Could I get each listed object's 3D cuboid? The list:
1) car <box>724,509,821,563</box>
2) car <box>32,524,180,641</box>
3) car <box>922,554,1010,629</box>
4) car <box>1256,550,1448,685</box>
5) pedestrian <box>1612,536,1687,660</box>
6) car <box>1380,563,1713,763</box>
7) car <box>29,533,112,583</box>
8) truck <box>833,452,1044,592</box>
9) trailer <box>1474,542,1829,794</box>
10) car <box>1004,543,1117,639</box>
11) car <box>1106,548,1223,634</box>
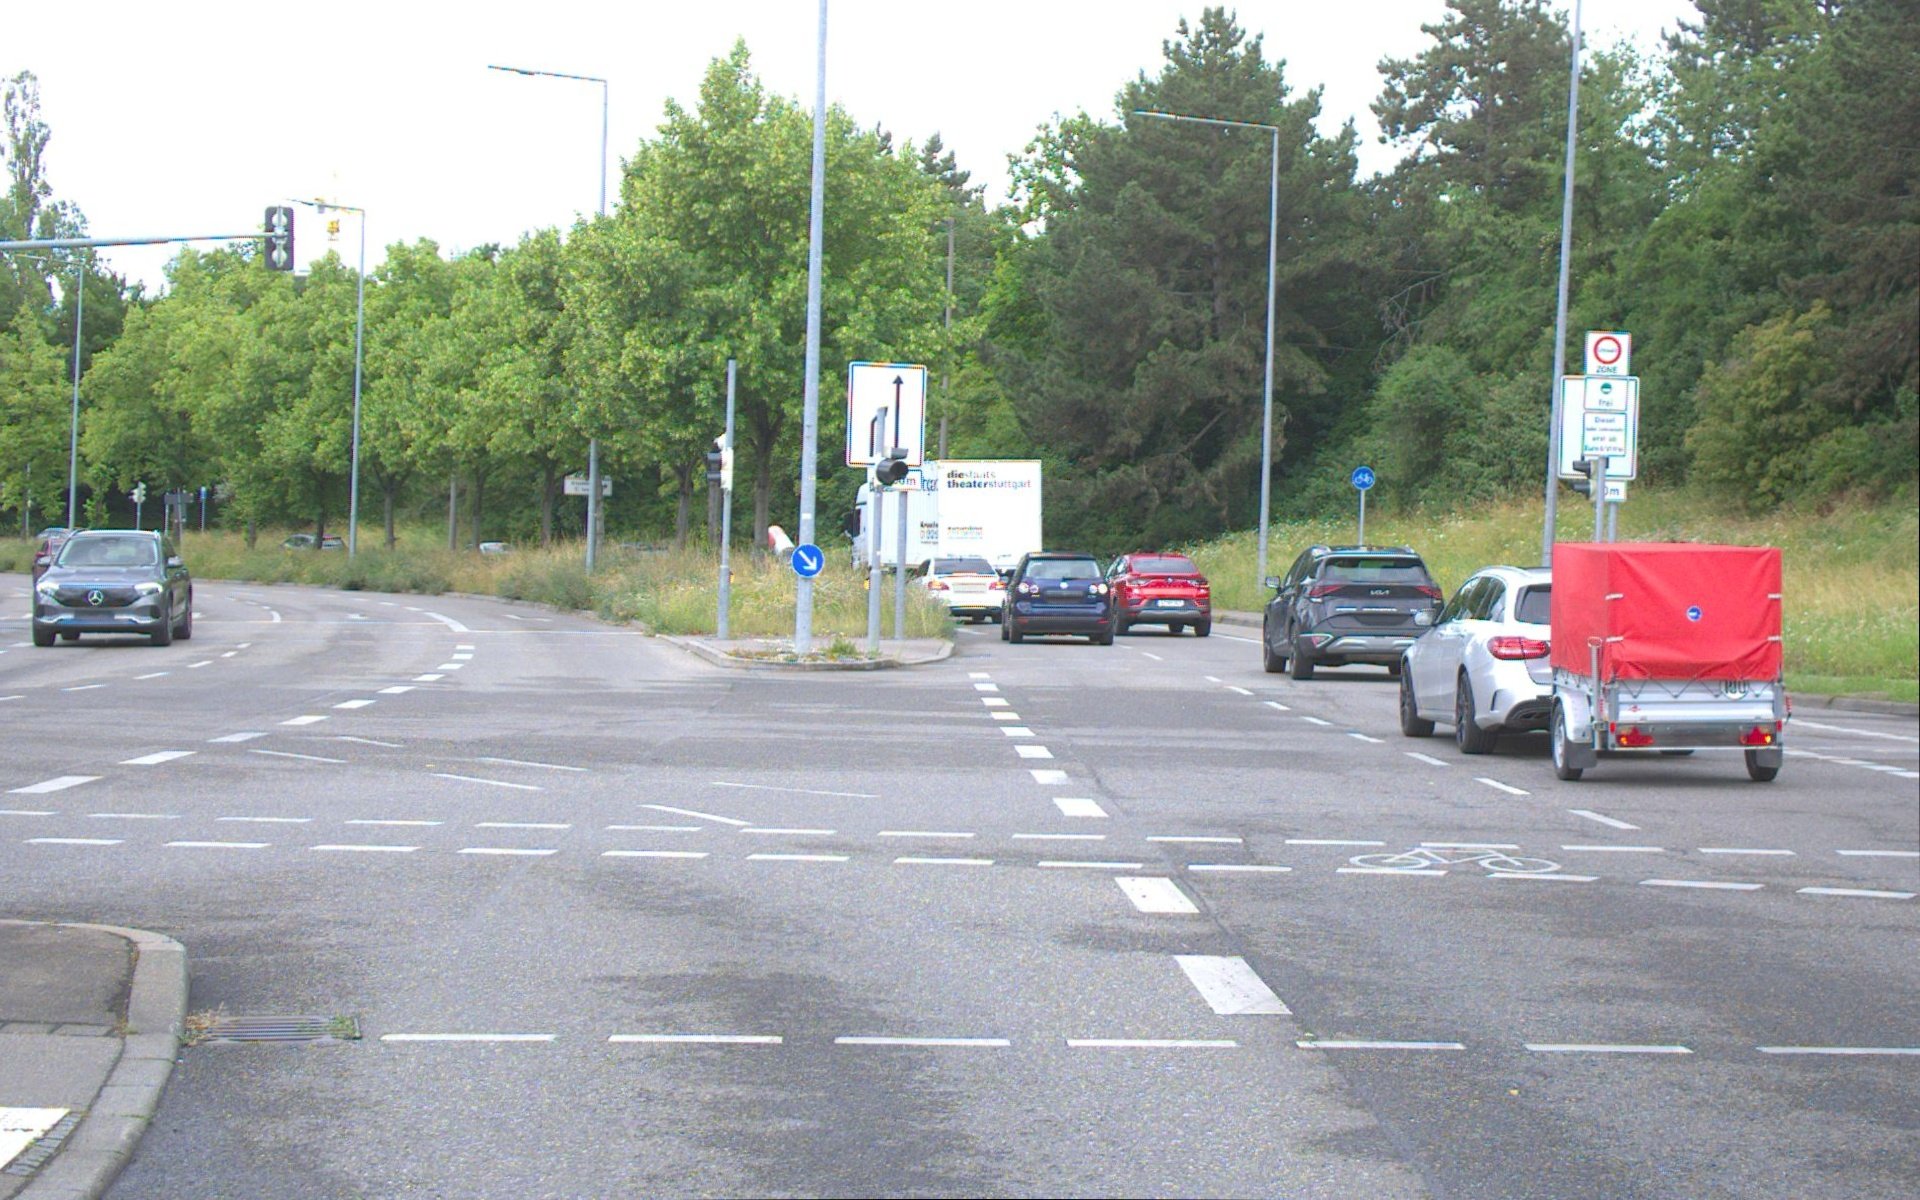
[{"bbox_3d":[-5.579,-1.898,101.860,1.777,1.541,4.026,0,1,-20],"label":"car"},{"bbox_3d":[-11.982,-0.281,48.439,1.777,1.541,4.226,1,1,-11],"label":"car"},{"bbox_3d":[0.102,-0.213,75.354,1.778,1.541,4.025,1,1,-2],"label":"car"},{"bbox_3d":[4.796,0.182,42.587,1.778,1.541,4.025,1,1,-2],"label":"car"},{"bbox_3d":[9.179,-0.028,45.782,0.814,1.622,0.791,1,1,-1],"label":"pedestrian"},{"bbox_3d":[4.639,0.448,27.817,1.778,1.416,4.459,1,1,-2],"label":"car"},{"bbox_3d":[-26.277,-1.252,101.513,1.780,1.438,4.427,0,1,-22],"label":"car"},{"bbox_3d":[-0.707,-1.991,87.493,2.739,3.317,11.411,0,1,-14],"label":"truck"},{"bbox_3d":[4.761,0.423,24.065,1.764,1.610,3.044,1,1,-2],"label":"trailer"},{"bbox_3d":[1.738,-0.180,58.475,1.778,1.541,4.024,1,1,3],"label":"car"},{"bbox_3d":[3.876,-0.189,65.784,1.778,1.541,4.025,1,1,-3],"label":"car"}]
